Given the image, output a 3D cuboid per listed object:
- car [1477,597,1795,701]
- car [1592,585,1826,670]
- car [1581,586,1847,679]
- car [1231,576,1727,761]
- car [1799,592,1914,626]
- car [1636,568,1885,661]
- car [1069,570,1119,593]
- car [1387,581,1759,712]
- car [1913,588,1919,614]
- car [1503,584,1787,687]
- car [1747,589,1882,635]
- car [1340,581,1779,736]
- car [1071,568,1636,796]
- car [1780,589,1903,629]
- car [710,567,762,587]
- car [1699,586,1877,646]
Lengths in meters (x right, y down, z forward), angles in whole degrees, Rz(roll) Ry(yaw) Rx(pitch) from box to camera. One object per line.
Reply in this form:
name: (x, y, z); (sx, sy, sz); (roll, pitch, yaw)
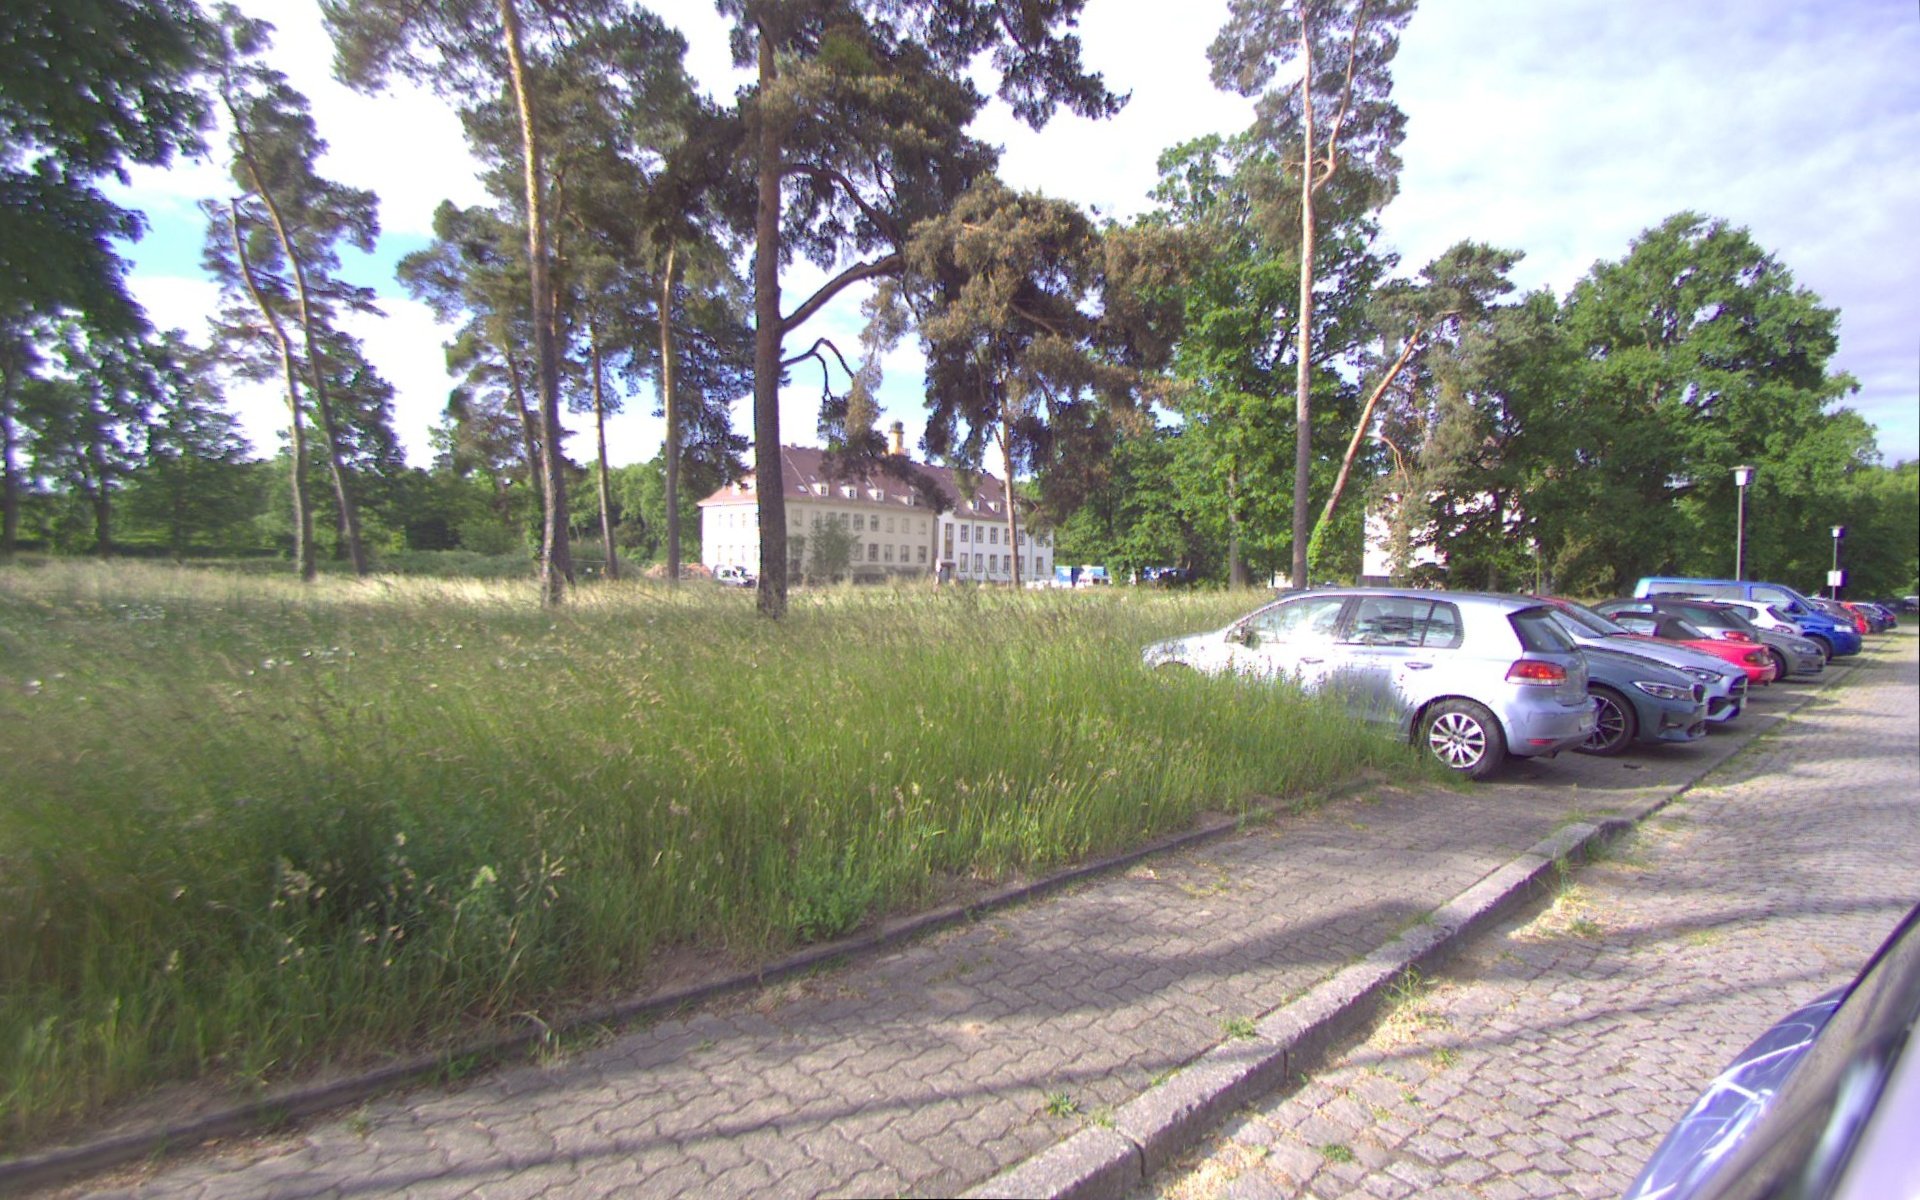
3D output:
car: (10.689, 0.679, 16.192); (1.698, 1.276, 3.955); (-1, 3, -44)
car: (16.371, 0.515, 22.228); (1.778, 1.549, 3.878); (-1, 3, -44)
car: (14.720, 0.545, 19.896); (1.801, 1.485, 3.955); (-1, 3, -44)
car: (5.480, 0.552, 11.070); (4.504, 1.491, 1.867); (3, 3, 41)
car: (43.893, 0.406, 49.611); (1.753, 1.468, 4.032); (-1, 3, -42)
car: (20.265, 0.261, 25.777); (4.736, 1.952, 1.960); (5, 4, 45)
car: (14.720, -2.012, 110.795); (5.860, 2.328, 2.165); (0, 2, -43)
car: (8.786, 0.543, 14.794); (1.712, 1.491, 4.344); (-1, 3, -45)
car: (80.172, 0.168, 81.393); (1.968, 2.066, 5.069); (1, 1, -45)
car: (12.265, 0.539, 18.294); (1.743, 1.513, 3.955); (-1, 3, -44)
car: (33.235, 0.431, 39.429); (3.879, 1.491, 1.660); (4, 4, 44)
car: (7.463, 0.575, 12.951); (1.820, 1.491, 4.510); (-1, 3, -45)
car: (3.433, 0.517, 9.470); (4.545, 1.523, 1.903); (3, 3, 44)
car: (40.457, 0.365, 46.516); (4.128, 1.588, 1.719); (4, 3, 45)
car: (-24.229, -2.532, 109.416); (5.637, 2.038, 2.597); (2, 2, 39)
car: (26.230, 0.451, 32.154); (4.192, 1.608, 1.848); (4, 3, 44)
